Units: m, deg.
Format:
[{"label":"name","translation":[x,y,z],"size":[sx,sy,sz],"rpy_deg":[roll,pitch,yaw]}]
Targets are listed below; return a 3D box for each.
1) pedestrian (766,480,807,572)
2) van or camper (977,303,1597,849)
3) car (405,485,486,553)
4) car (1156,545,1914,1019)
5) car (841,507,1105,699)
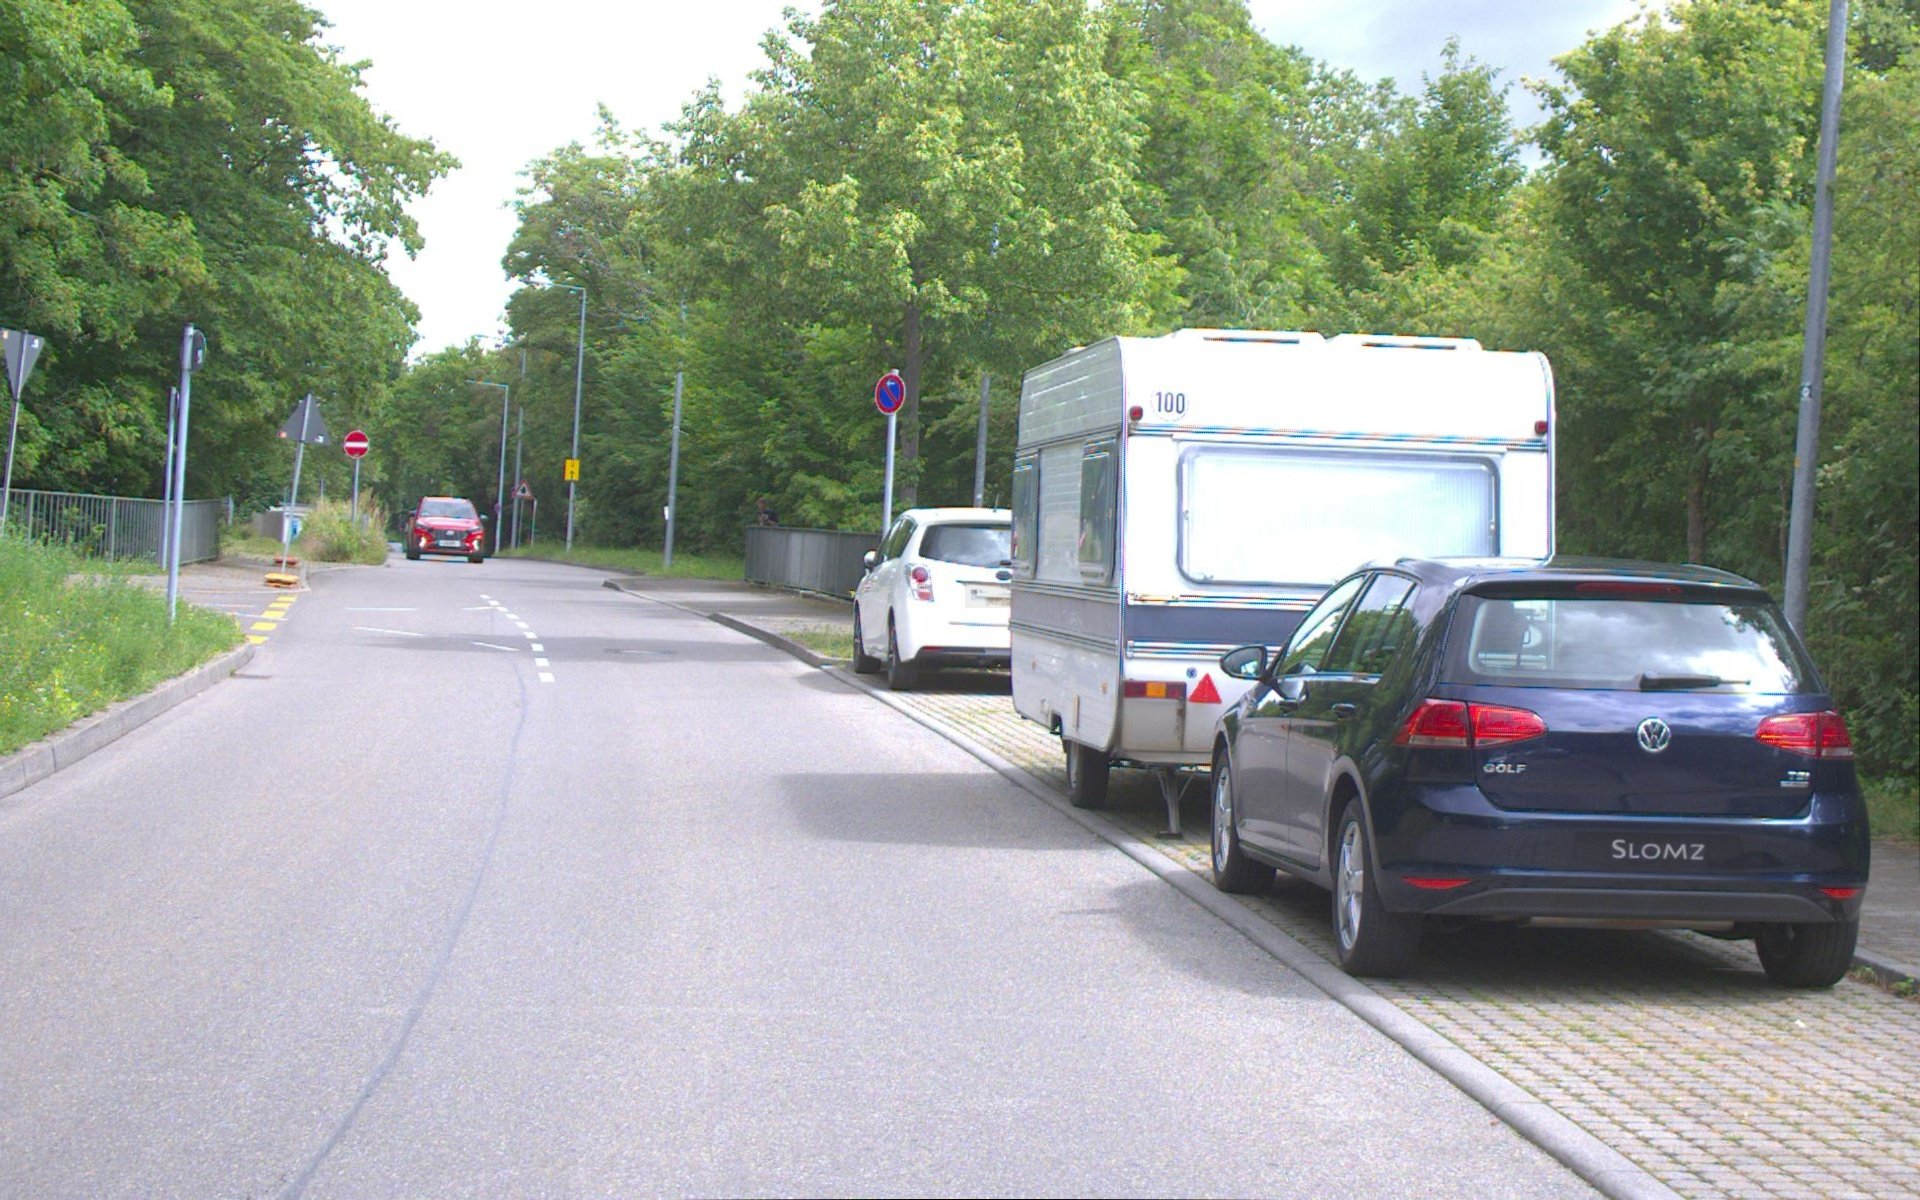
[{"label":"pedestrian","translation":[-3.457,-1.461,68.439],"size":[0.587,1.777,0.682],"rpy_deg":[3,-1,10]},{"label":"van or camper","translation":[1.581,-0.158,18.897],"size":[2.354,2.545,5.076],"rpy_deg":[1,1,-6]},{"label":"car","translation":[-13.402,-2.126,89.432],"size":[1.842,1.653,4.223],"rpy_deg":[2,2,-11]},{"label":"car","translation":[1.988,0.557,13.303],"size":[1.681,1.446,4.481],"rpy_deg":[2,1,-6]},{"label":"car","translation":[0.040,-0.028,31.827],"size":[1.804,1.594,4.373],"rpy_deg":[1,2,-8]}]
